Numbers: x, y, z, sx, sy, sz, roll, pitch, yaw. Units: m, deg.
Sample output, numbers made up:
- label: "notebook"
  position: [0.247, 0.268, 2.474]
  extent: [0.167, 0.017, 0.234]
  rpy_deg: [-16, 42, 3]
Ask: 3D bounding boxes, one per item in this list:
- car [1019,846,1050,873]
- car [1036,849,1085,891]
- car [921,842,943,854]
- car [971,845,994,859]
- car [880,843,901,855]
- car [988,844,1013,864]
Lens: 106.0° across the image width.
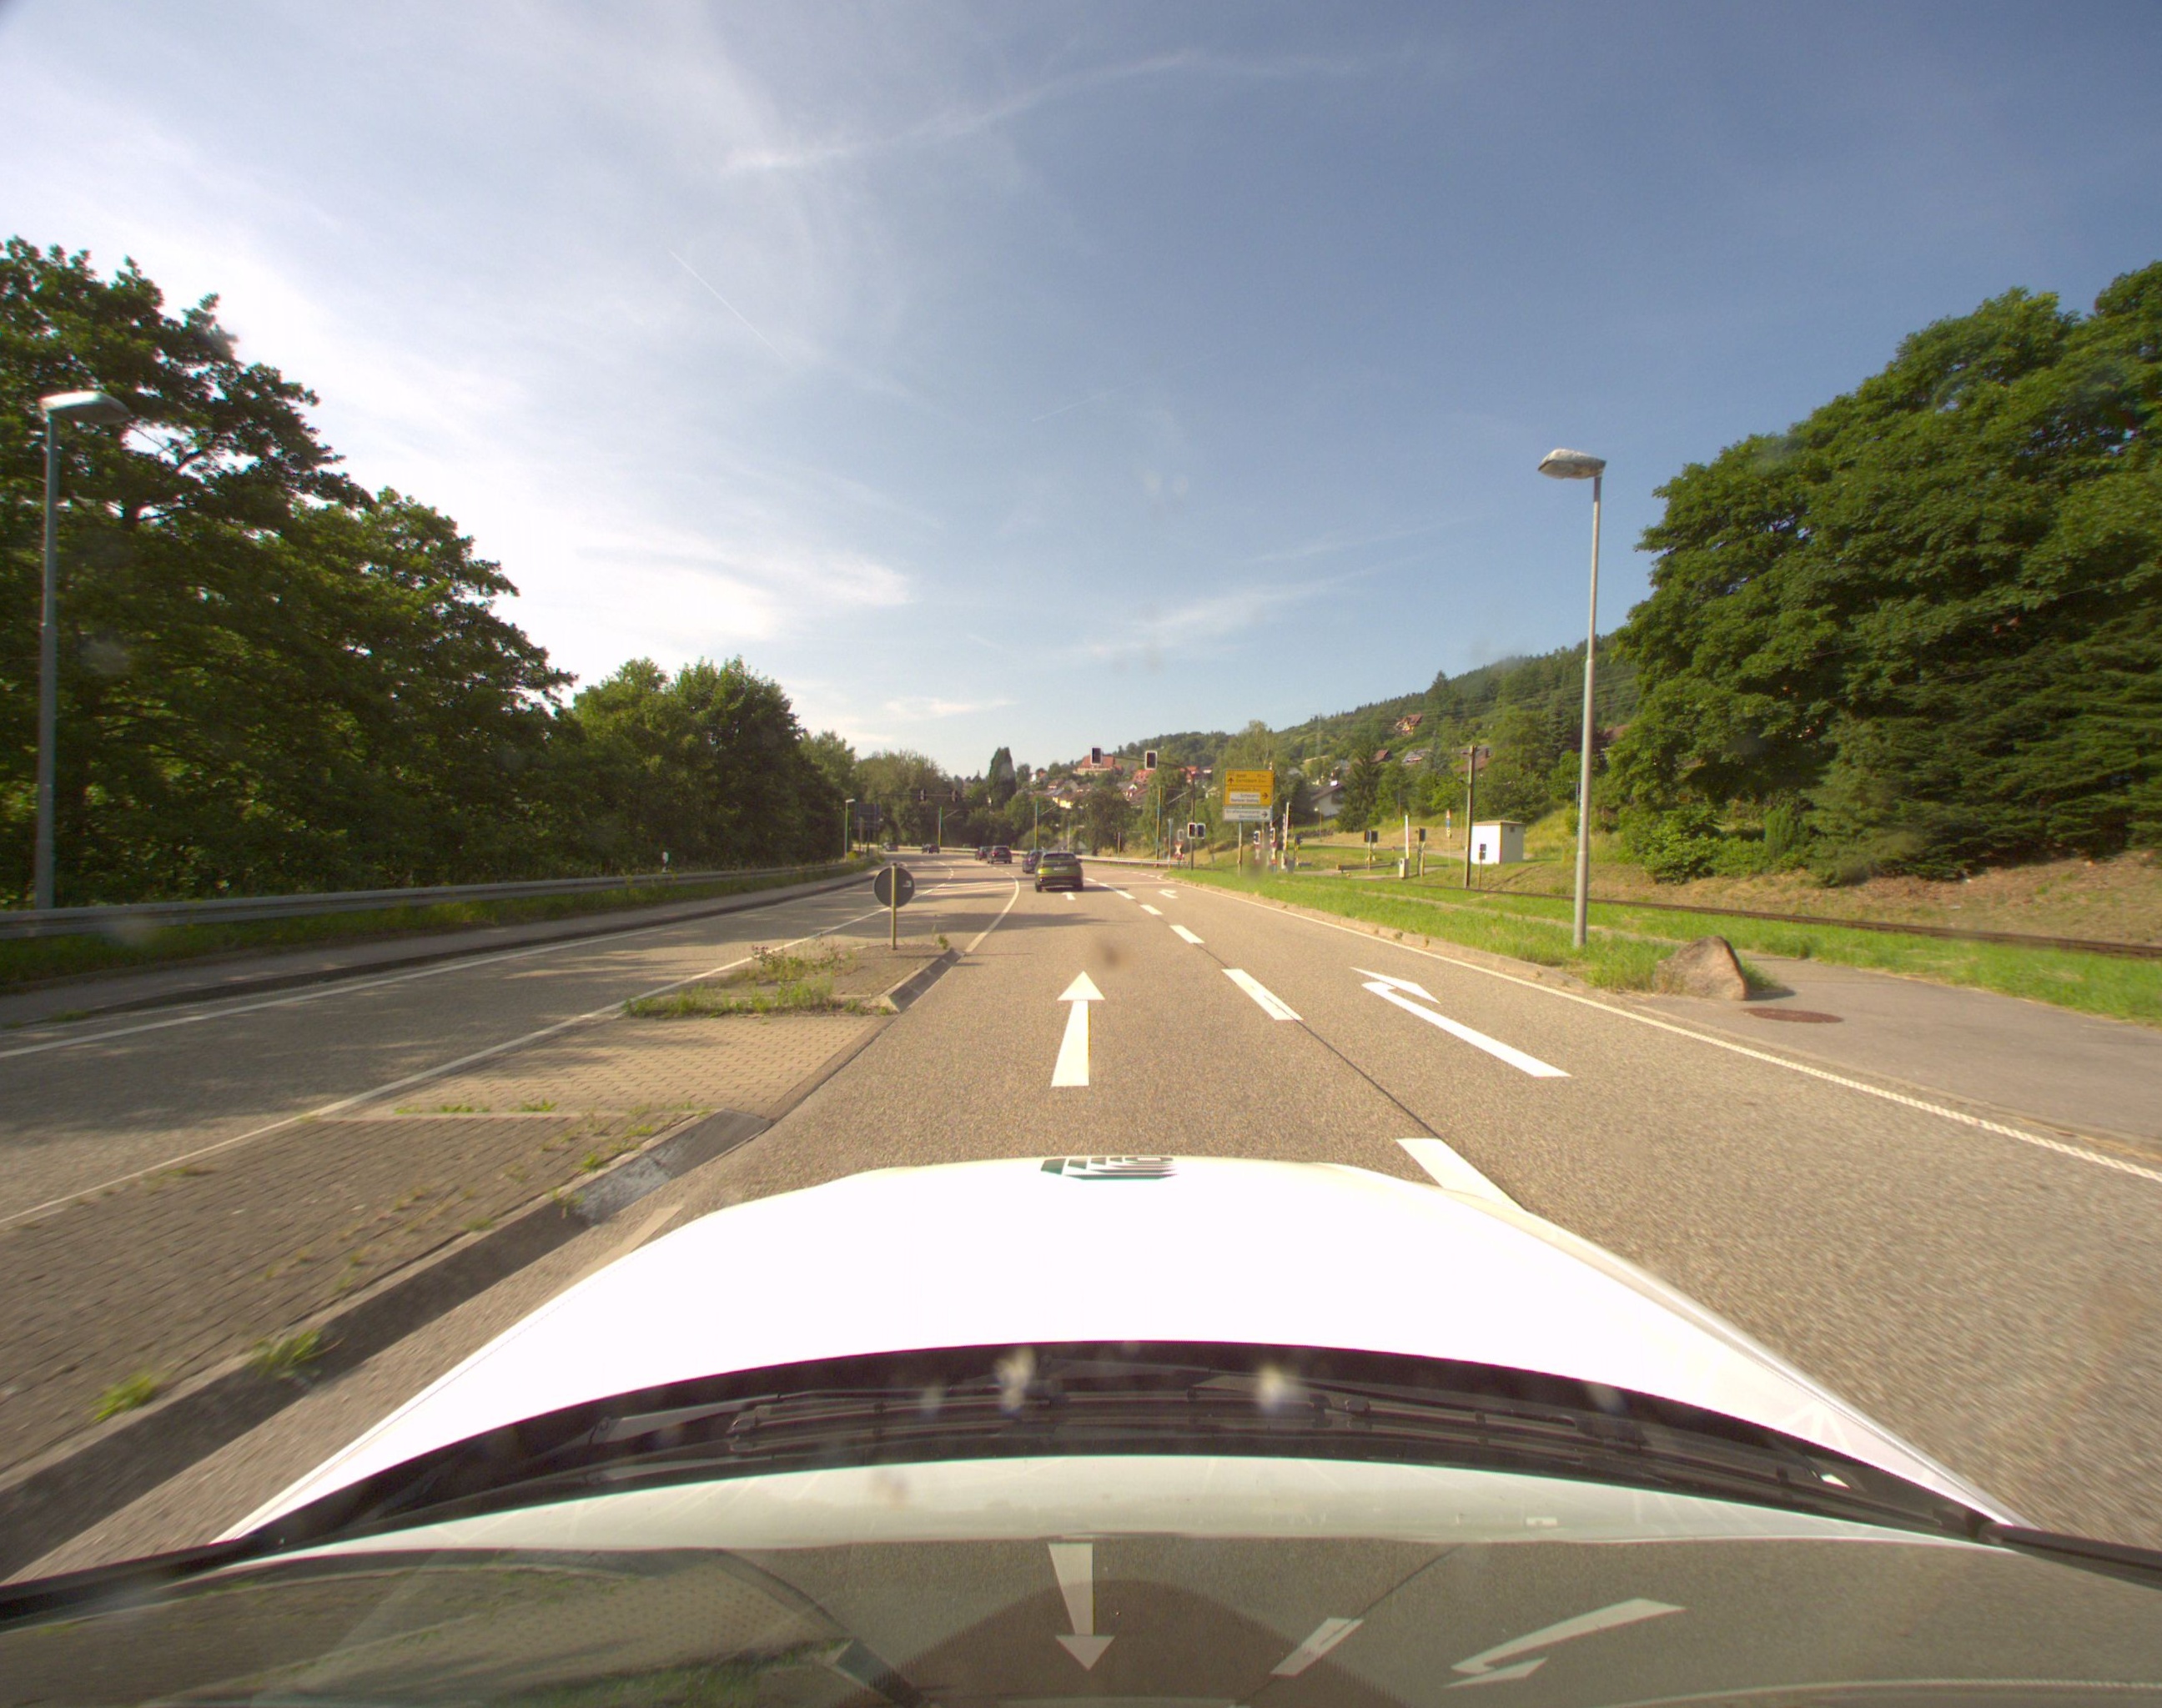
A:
- label: "car"
  position: [-2.890, 0.328, 49.982]
  extent: [1.665, 1.559, 3.991]
  rpy_deg: [0, 0, -7]
- label: "car"
  position: [-0.799, 0.535, 30.793]
  extent: [1.710, 1.455, 3.996]
  rpy_deg: [-1, 0, -2]
- label: "car"
  position: [-22.281, -0.928, 121.670]
  extent: [2.005, 1.745, 3.963]
  rpy_deg: [0, 0, -29]
- label: "car"
  position: [-10.587, -0.217, 87.178]
  extent: [1.853, 1.527, 3.642]
  rpy_deg: [0, 1, -17]
- label: "car"
  position: [-31.759, -0.829, 135.758]
  extent: [2.079, 1.811, 3.957]
  rpy_deg: [-1, 2, -35]
- label: "car"
  position: [-7.293, -0.003, 73.721]
  extent: [1.881, 1.686, 3.984]
  rpy_deg: [0, 0, -12]
